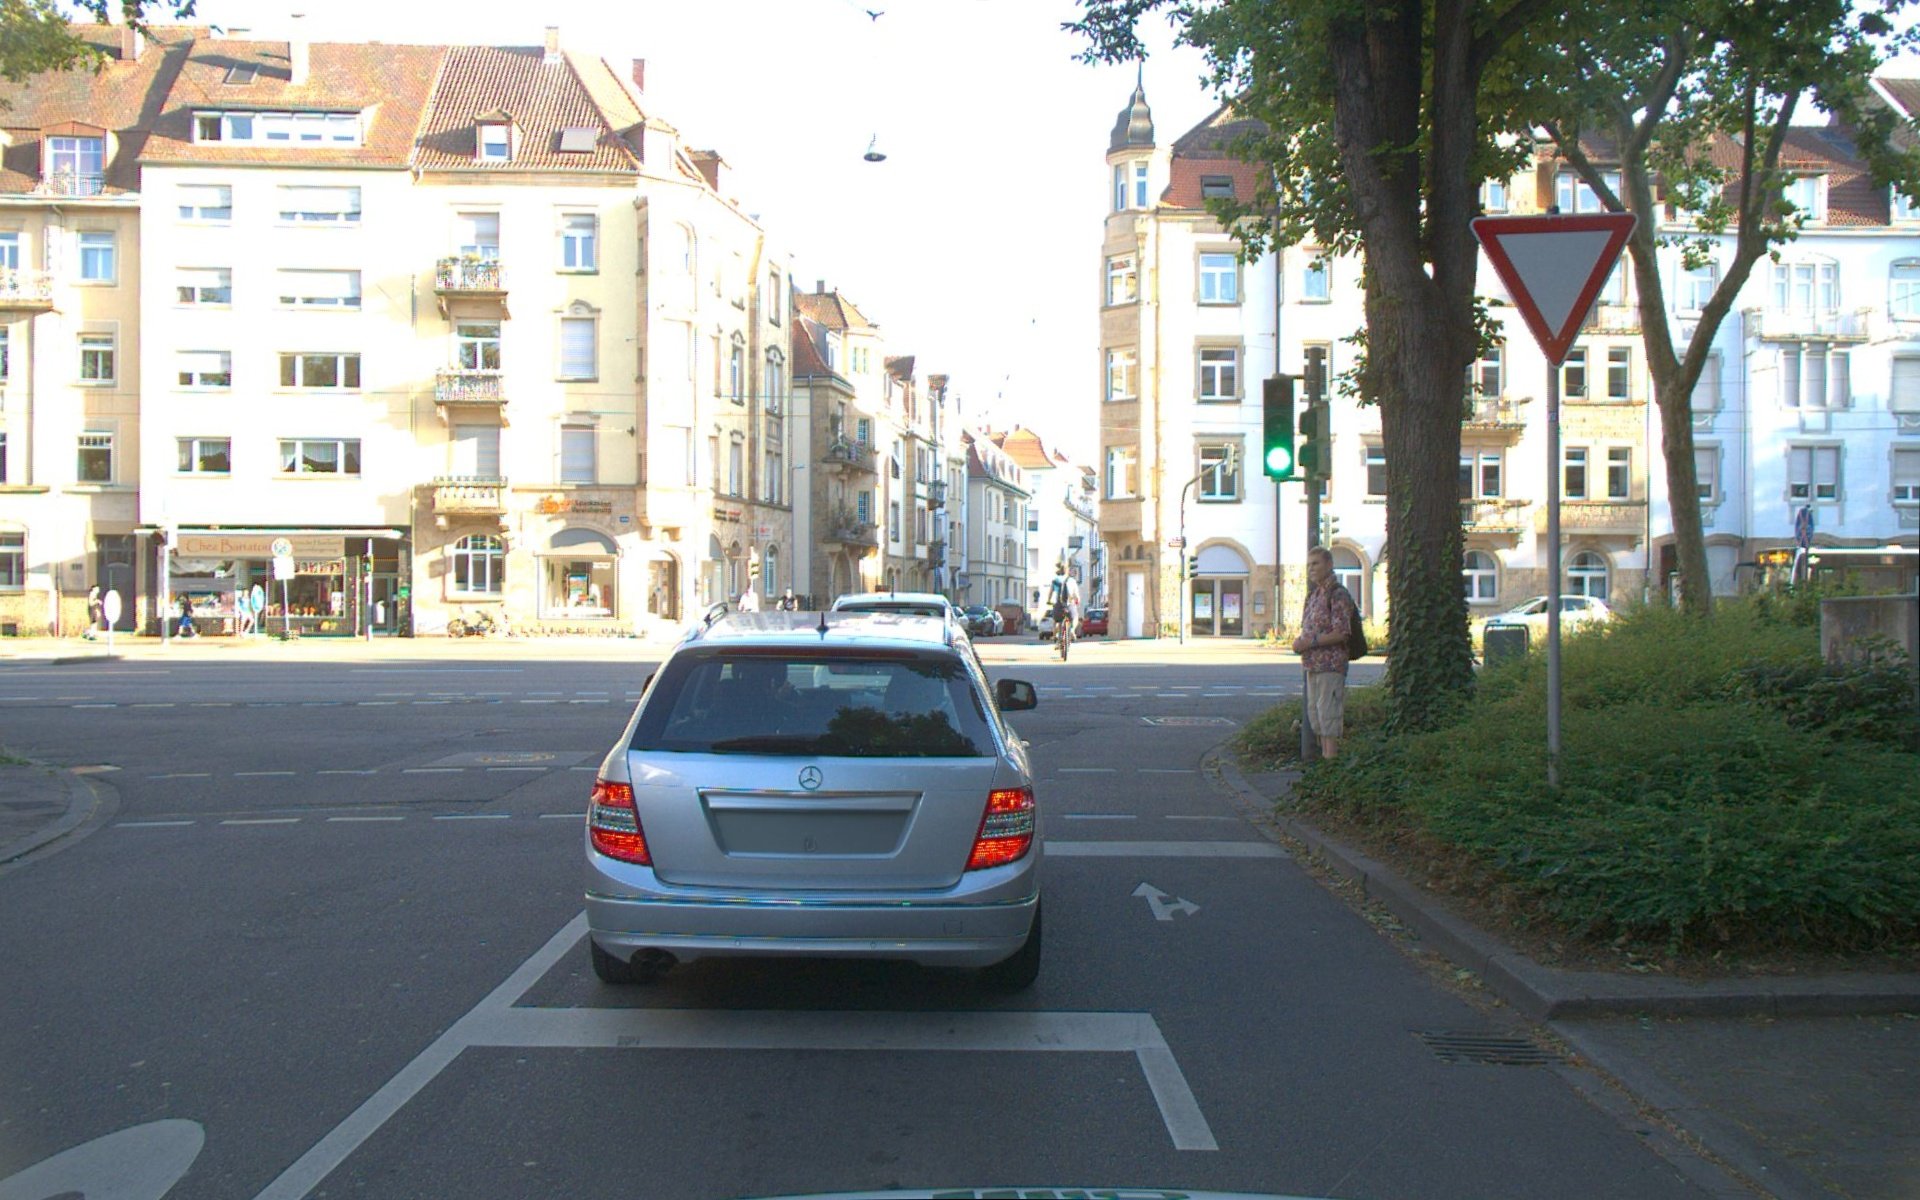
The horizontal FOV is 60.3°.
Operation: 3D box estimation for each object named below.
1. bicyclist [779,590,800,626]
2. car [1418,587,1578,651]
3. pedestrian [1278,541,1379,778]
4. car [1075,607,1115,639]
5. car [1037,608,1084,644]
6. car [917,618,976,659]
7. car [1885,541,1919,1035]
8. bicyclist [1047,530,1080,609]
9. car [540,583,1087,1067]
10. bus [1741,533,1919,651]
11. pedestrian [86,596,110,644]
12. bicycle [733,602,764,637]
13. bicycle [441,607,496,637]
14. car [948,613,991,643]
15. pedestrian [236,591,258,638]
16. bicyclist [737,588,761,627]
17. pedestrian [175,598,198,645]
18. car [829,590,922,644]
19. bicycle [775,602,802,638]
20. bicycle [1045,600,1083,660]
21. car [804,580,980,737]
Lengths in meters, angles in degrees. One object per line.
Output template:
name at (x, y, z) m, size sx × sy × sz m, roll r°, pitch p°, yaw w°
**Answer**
bicyclist at (-5.702, 0.278, 55.383) m, size 0.597 × 1.178 × 0.767 m, roll 1°, pitch 0°, yaw 1°
car at (15.247, 0.536, 47.018) m, size 3.905 × 1.713 × 1.936 m, roll 1°, pitch 0°, yaw 0°
pedestrian at (2.945, 0.467, 13.275) m, size 0.685 × 1.838 × 0.666 m, roll 1°, pitch -1°, yaw 5°
car at (7.646, 1.314, 93.653) m, size 1.791 × 1.736 × 4.003 m, roll 1°, pitch 0°, yaw 11°
car at (4.751, 1.199, 77.744) m, size 1.791 × 1.644 × 4.003 m, roll 1°, pitch 0°, yaw 9°
car at (-0.588, 1.701, 74.537) m, size 1.791 × 1.736 × 4.003 m, roll 1°, pitch 0°, yaw 13°
car at (5.107, 0.595, 4.786) m, size 3.954 × 1.603 × 1.683 m, roll -1°, pitch 0°, yaw -2°
bicyclist at (2.036, -0.597, 32.546) m, size 0.597 × 1.520 × 0.767 m, roll 1°, pitch -1°, yaw 1°
car at (-0.488, 0.721, 7.306) m, size 1.697 × 1.503 × 4.171 m, roll 1°, pitch 0°, yaw -1°
bus at (29.515, -0.177, 50.718) m, size 9.668 × 3.433 × 3.275 m, roll 1°, pitch 0°, yaw -2°
pedestrian at (-28.702, 0.671, 55.098) m, size 0.552 × 1.591 × 0.467 m, roll 1°, pitch -1°, yaw -7°
bicycle at (-6.894, 0.632, 53.983) m, size 0.637 × 1.124 × 2.552 m, roll 1°, pitch 0°, yaw 1°
bicycle at (-17.143, 0.775, 57.729) m, size 1.771 × 1.046 × 0.492 m, roll 0°, pitch 0°, yaw -5°
car at (0.591, 1.590, 94.446) m, size 1.791 × 1.644 × 4.003 m, roll 1°, pitch 0°, yaw 10°
pedestrian at (-24.550, 0.489, 56.947) m, size 0.552 × 1.591 × 0.467 m, roll 1°, pitch -1°, yaw -7°
bicyclist at (-6.887, 0.252, 54.008) m, size 0.645 × 1.257 × 0.767 m, roll 1°, pitch 0°, yaw 1°
pedestrian at (-26.216, 0.718, 56.070) m, size 0.552 × 1.591 × 0.467 m, roll 1°, pitch -1°, yaw -7°
car at (-3.128, 0.637, 62.205) m, size 1.875 × 1.933 × 4.309 m, roll 1°, pitch 0°, yaw 21°
bicycle at (-5.715, 0.657, 55.181) m, size 0.637 × 1.124 × 1.925 m, roll 1°, pitch 2°, yaw 1°
bicycle at (2.024, 0.573, 32.565) m, size 0.606 × 1.124 × 2.552 m, roll 1°, pitch 0°, yaw 1°
car at (-0.696, 0.581, 18.117) m, size 1.697 × 1.506 × 3.814 m, roll 1°, pitch 0°, yaw -1°
